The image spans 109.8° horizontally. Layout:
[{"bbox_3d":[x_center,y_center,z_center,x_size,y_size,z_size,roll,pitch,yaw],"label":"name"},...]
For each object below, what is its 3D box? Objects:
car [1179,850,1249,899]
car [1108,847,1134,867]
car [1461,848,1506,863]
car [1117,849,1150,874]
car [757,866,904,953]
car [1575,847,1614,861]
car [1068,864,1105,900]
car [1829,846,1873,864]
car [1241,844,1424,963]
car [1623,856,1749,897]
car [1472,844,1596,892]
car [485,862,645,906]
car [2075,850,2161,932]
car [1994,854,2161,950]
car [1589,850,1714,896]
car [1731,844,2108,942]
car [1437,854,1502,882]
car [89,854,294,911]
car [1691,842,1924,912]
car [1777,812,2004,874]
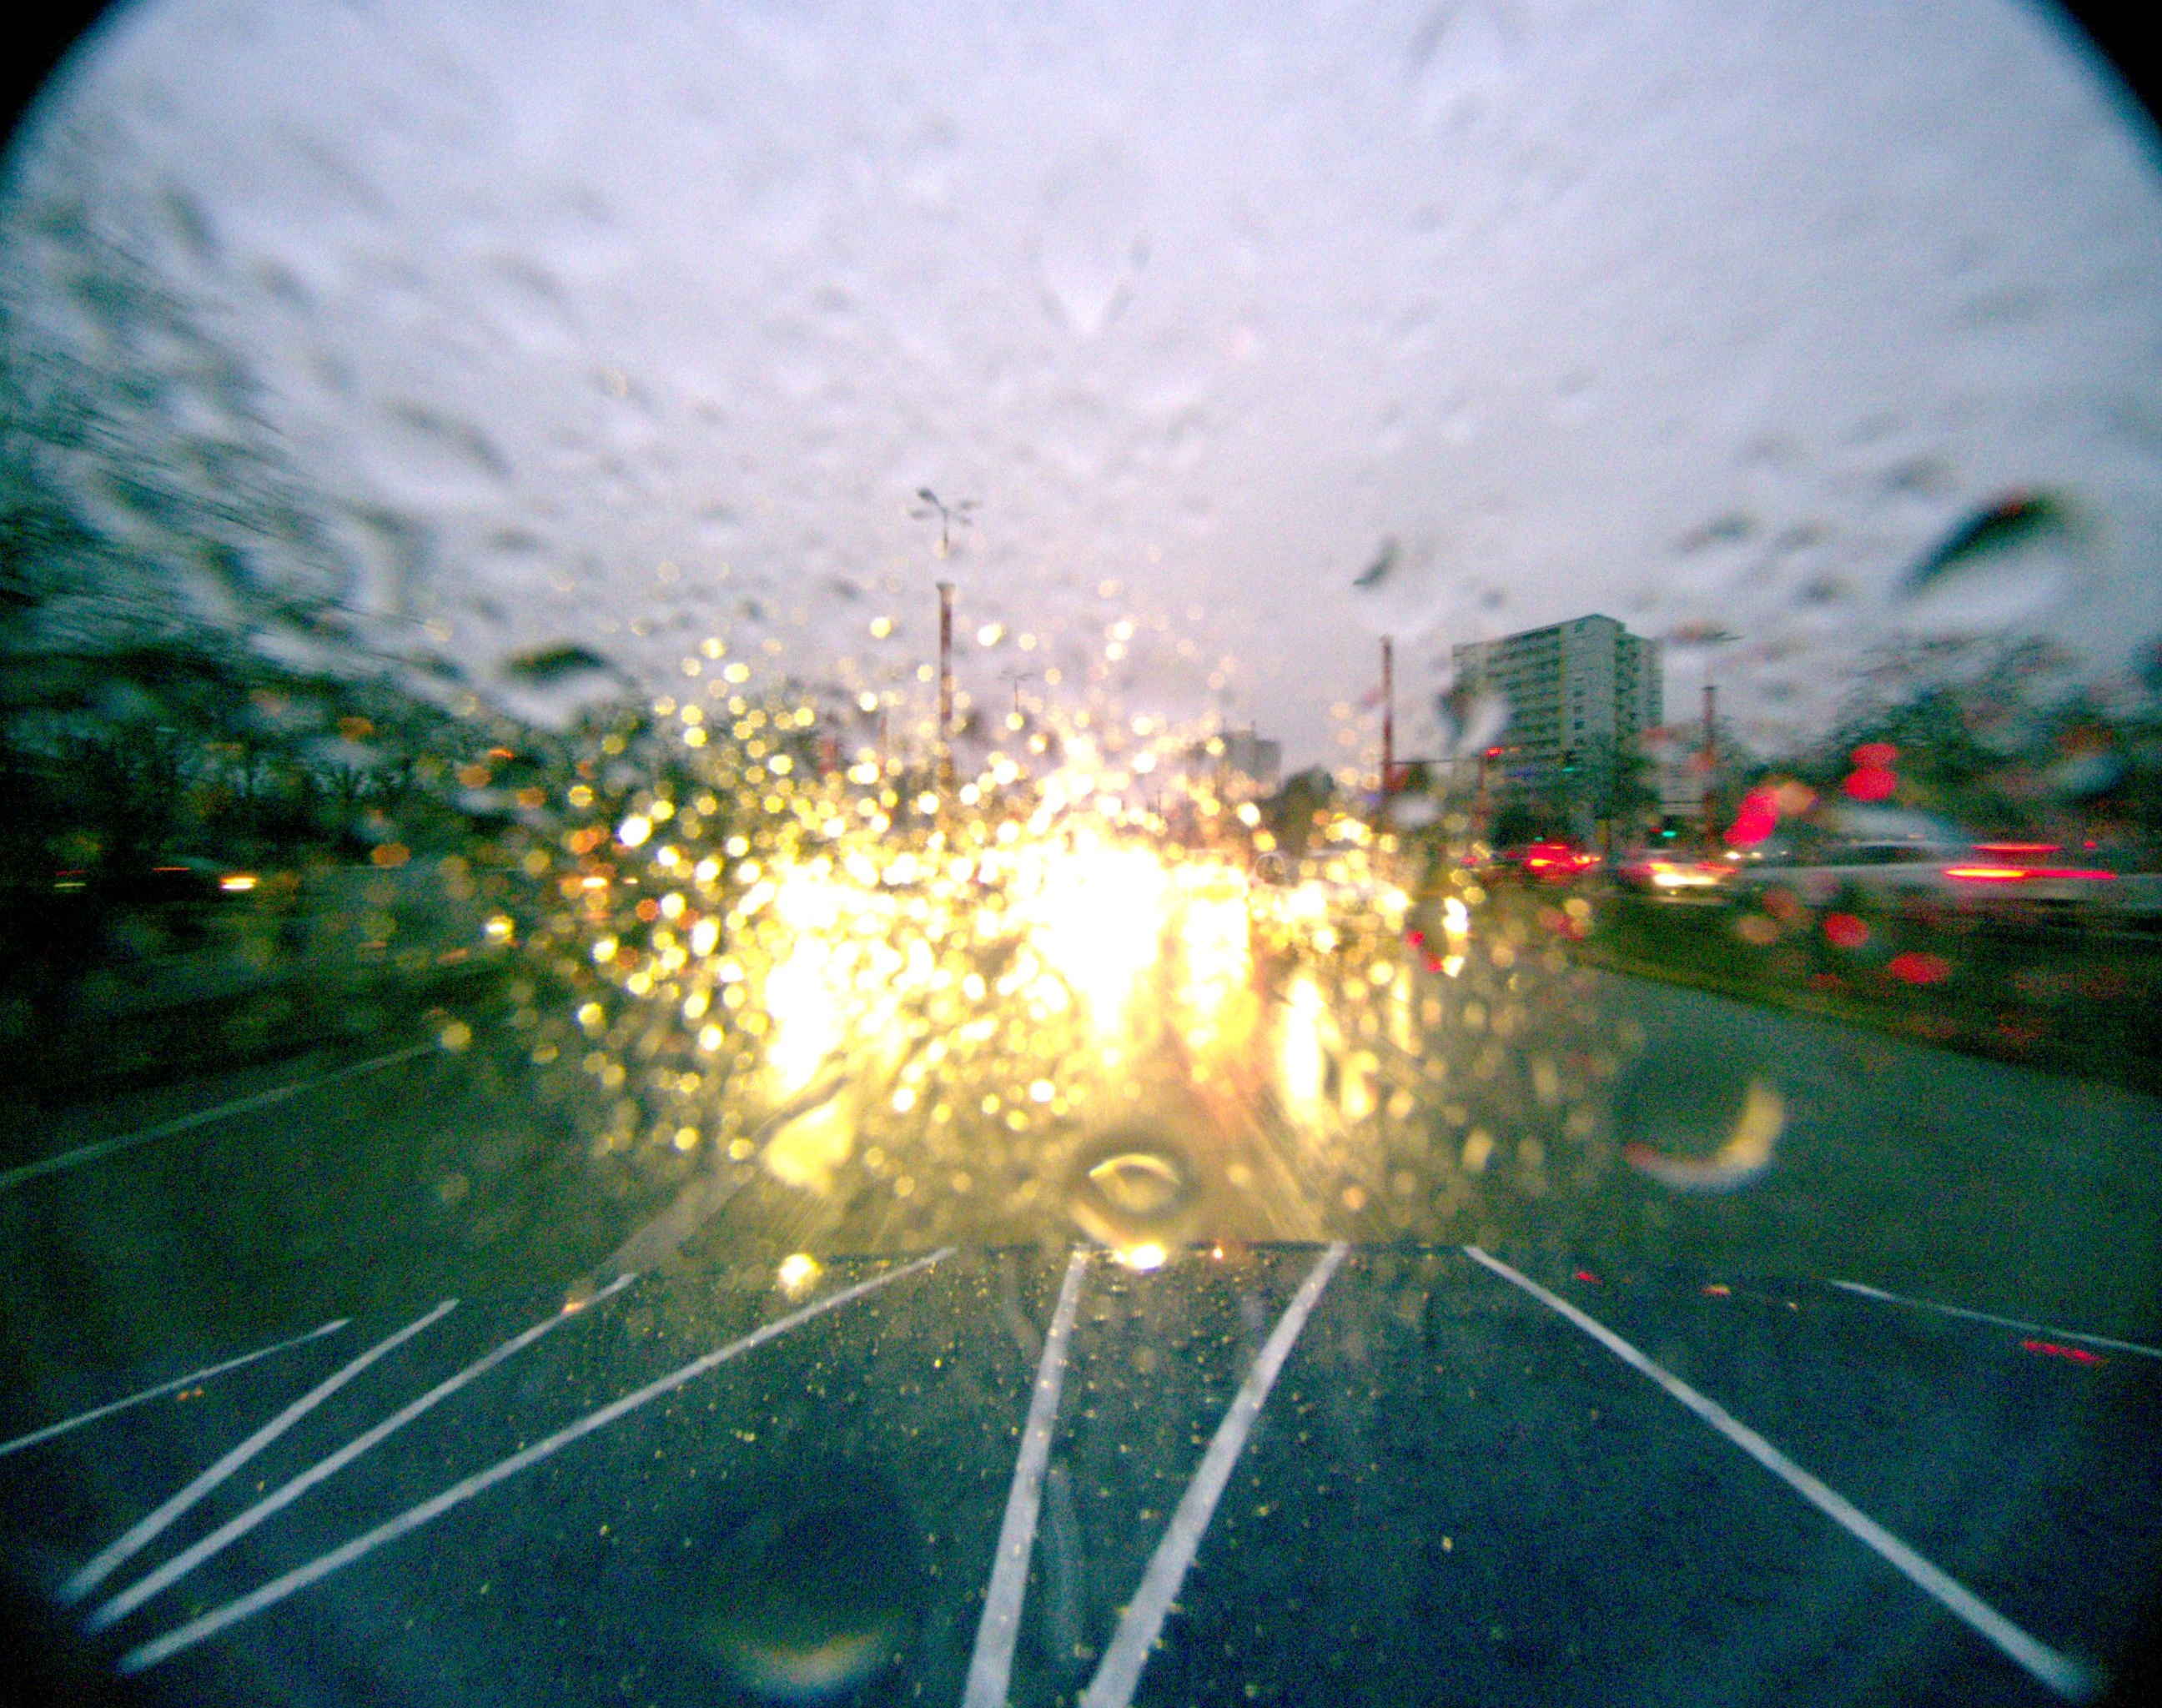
[{"bbox_3d":[4.609,0.649,26.947,1.694,1.530,4.189,-2,1,0],"label":"car"},{"bbox_3d":[3.336,0.262,63.736,1.953,1.590,4.124,-1,1,0],"label":"car"},{"bbox_3d":[41.824,0.121,79.003,4.446,1.535,1.847,0,1,-26],"label":"car"},{"bbox_3d":[3.438,0.473,50.486,1.953,1.590,4.124,-1,1,0],"label":"car"},{"bbox_3d":[-5.265,0.987,15.501,1.886,1.368,4.743,-1,1,-30],"label":"car"},{"bbox_3d":[55.901,-0.014,82.736,4.005,1.536,1.709,0,1,-26],"label":"car"},{"bbox_3d":[0.254,1.344,37.474,1.679,1.590,4.044,-1,1,0],"label":"car"},{"bbox_3d":[65.550,0.054,64.684,4.606,1.521,1.994,-1,1,-36],"label":"car"},{"bbox_3d":[3.917,0.661,12.597,1.718,1.638,4.146,-1,1,1],"label":"car"},{"bbox_3d":[22.512,0.789,28.498,1.625,1.418,3.909,0,0,0],"label":"car"},{"bbox_3d":[15.940,0.458,27.012,1.862,1.572,4.078,0,0,-2],"label":"car"},{"bbox_3d":[-16.002,0.910,23.657,3.995,1.302,1.638,0,1,7],"label":"car"},{"bbox_3d":[21.514,0.709,13.683,1.998,1.526,4.000,-1,1,1],"label":"car"},{"bbox_3d":[18.287,0.773,12.215,1.774,1.524,4.525,0,0,0],"label":"car"},{"bbox_3d":[18.663,0.571,25.040,1.656,1.412,3.326,0,0,0],"label":"car"},{"bbox_3d":[15.209,0.596,14.329,1.774,1.528,4.840,0,0,0],"label":"car"},{"bbox_3d":[22.585,0.784,44.371,1.774,1.544,3.946,0,0,0],"label":"car"},{"bbox_3d":[-27.447,0.831,23.589,3.891,1.626,1.656,0,1,-13],"label":"car"},{"bbox_3d":[18.250,0.514,19.434,1.861,1.589,4.287,0,0,0],"label":"car"},{"bbox_3d":[21.828,-0.280,20.773,1.998,1.525,4.000,0,0,1],"label":"car"}]
